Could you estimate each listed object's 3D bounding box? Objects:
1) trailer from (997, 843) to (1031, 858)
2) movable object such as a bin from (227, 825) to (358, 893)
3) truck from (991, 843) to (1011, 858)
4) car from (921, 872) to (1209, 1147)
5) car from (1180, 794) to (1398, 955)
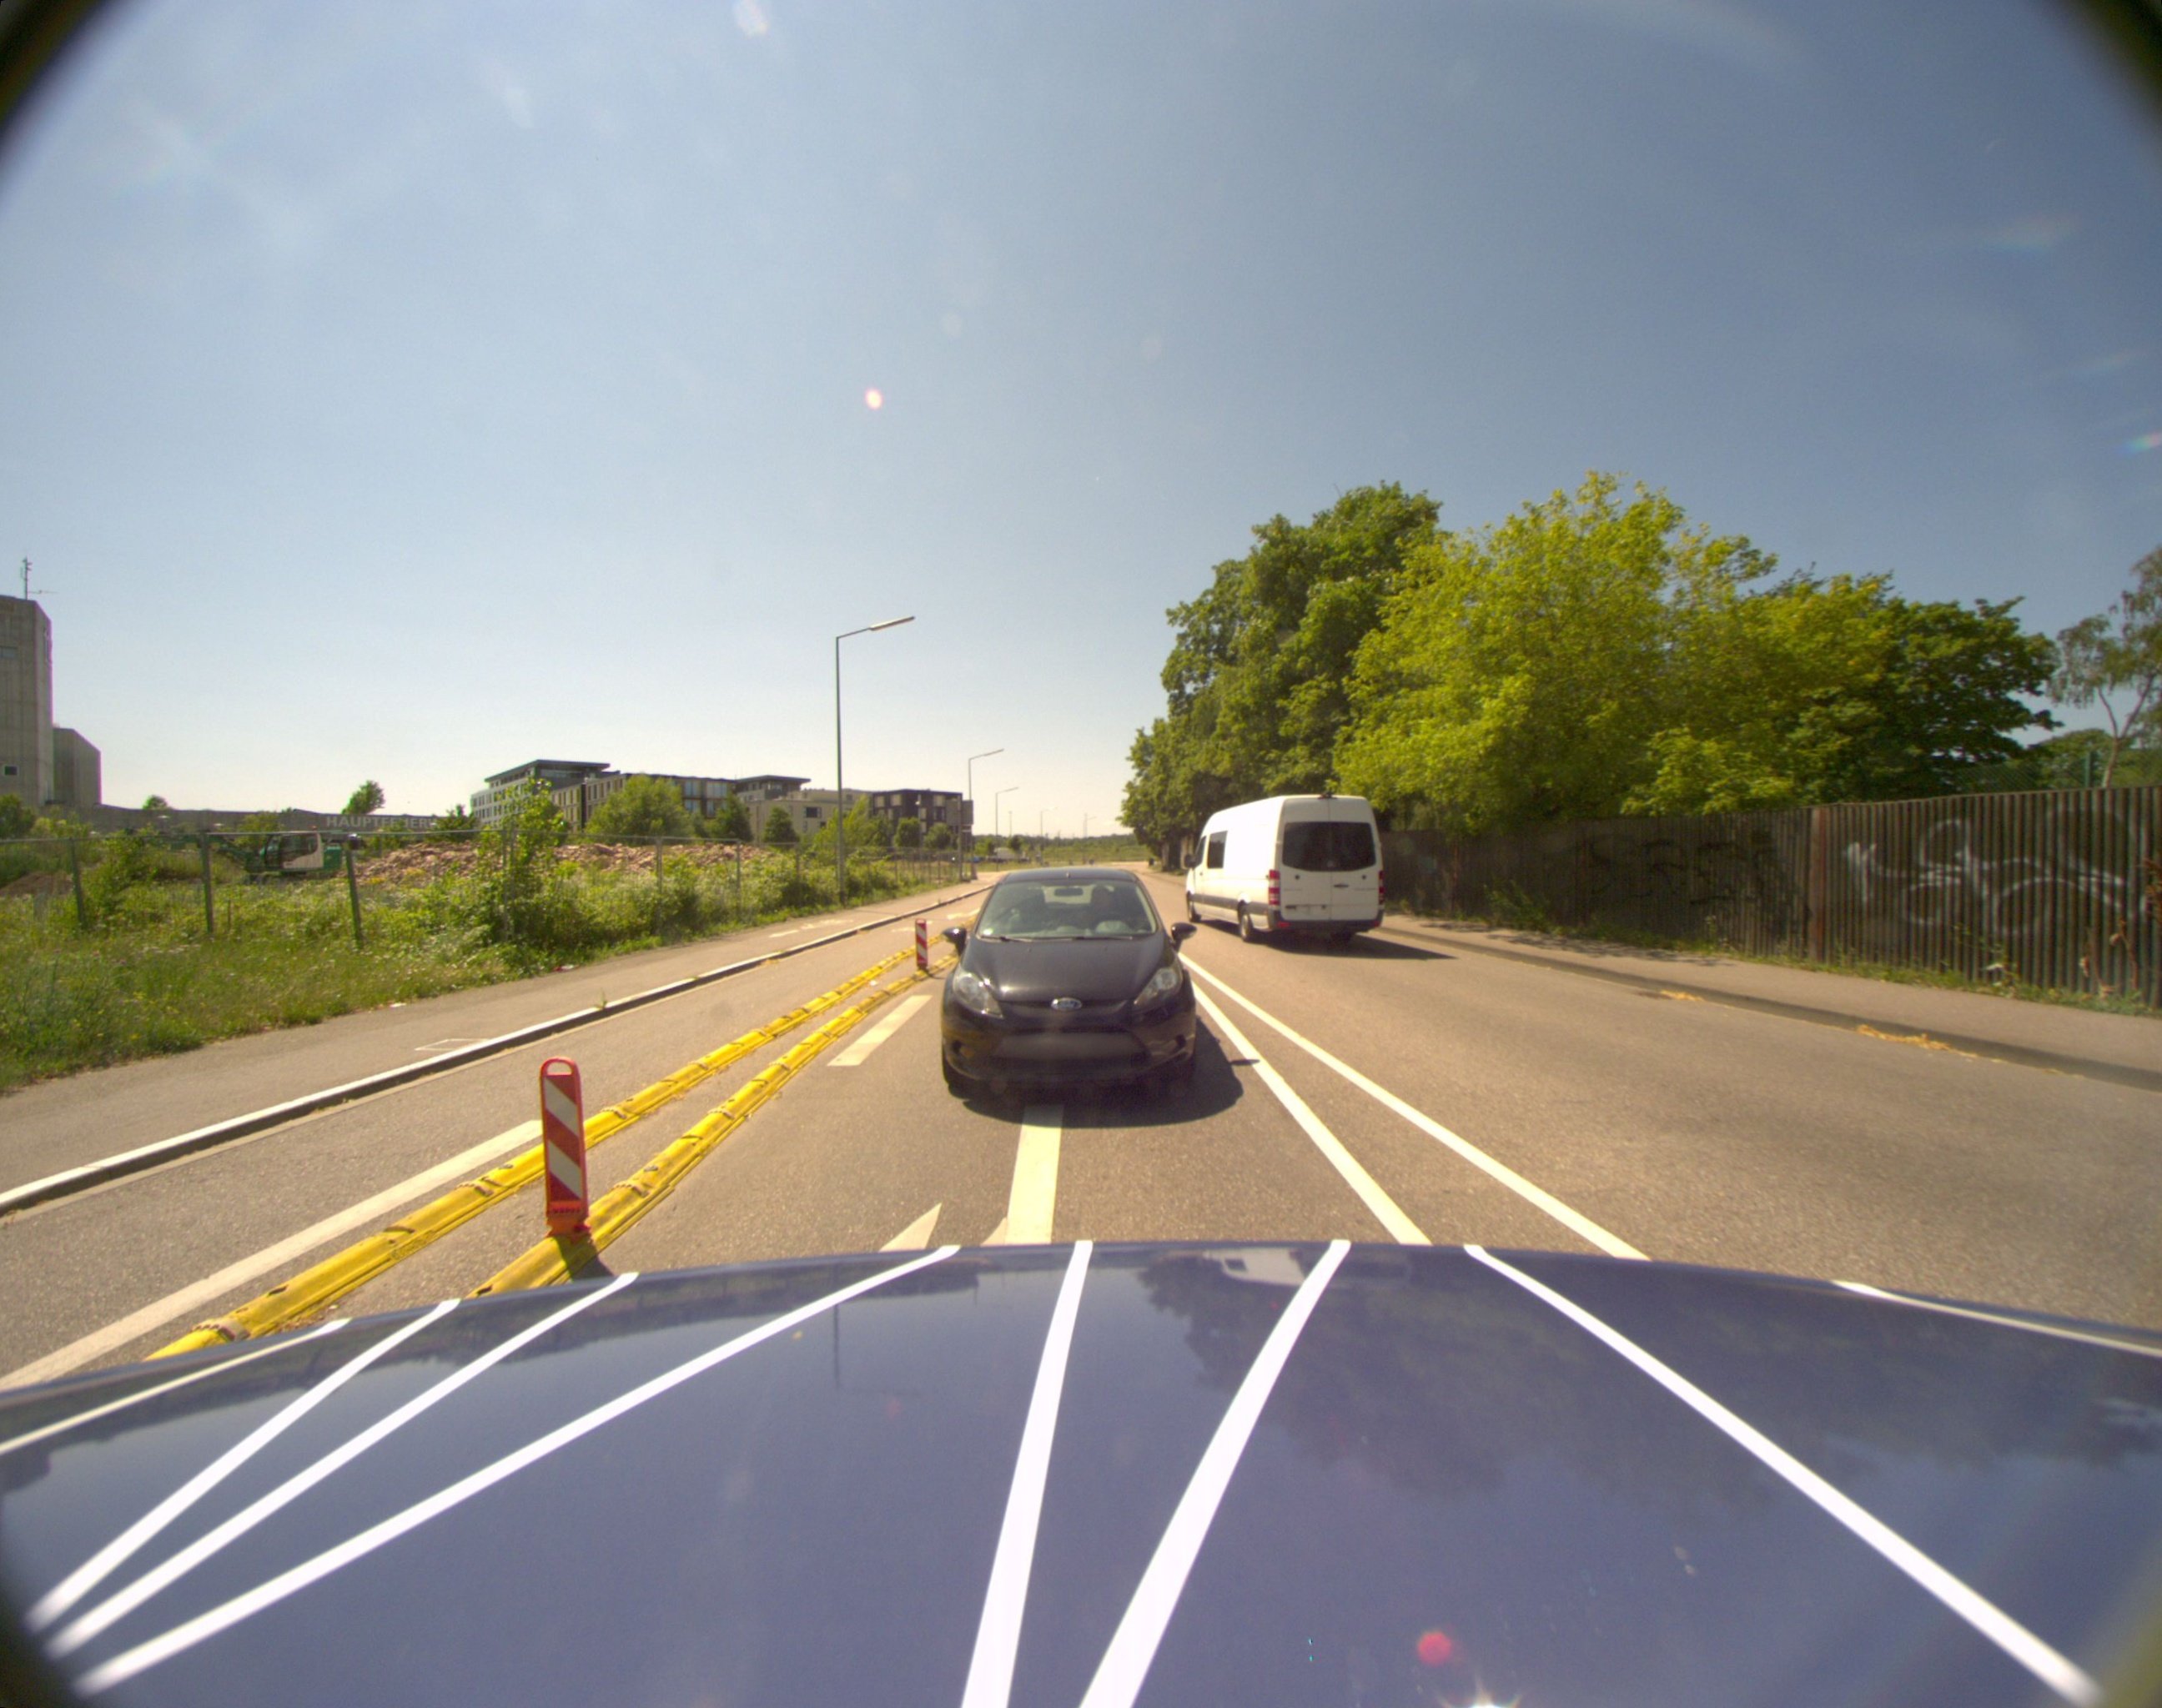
[{"bbox_3d":[-15.259,-0.824,173.146,8.194,3.329,1.994,-1,0,-45],"label":"trailer"},{"bbox_3d":[-37.690,0.198,36.476,2.204,3.045,3.690,-2,1,6],"label":"movable object such as a bin"},{"bbox_3d":[-18.014,-0.819,170.405,4.008,3.316,1.994,-1,1,-45],"label":"truck"},{"bbox_3d":[-0.070,0.939,6.335,1.602,1.422,4.000,-2,0,1],"label":"car"},{"bbox_3d":[3.744,0.305,15.437,2.026,2.524,6.824,0,0,-5],"label":"car"}]
